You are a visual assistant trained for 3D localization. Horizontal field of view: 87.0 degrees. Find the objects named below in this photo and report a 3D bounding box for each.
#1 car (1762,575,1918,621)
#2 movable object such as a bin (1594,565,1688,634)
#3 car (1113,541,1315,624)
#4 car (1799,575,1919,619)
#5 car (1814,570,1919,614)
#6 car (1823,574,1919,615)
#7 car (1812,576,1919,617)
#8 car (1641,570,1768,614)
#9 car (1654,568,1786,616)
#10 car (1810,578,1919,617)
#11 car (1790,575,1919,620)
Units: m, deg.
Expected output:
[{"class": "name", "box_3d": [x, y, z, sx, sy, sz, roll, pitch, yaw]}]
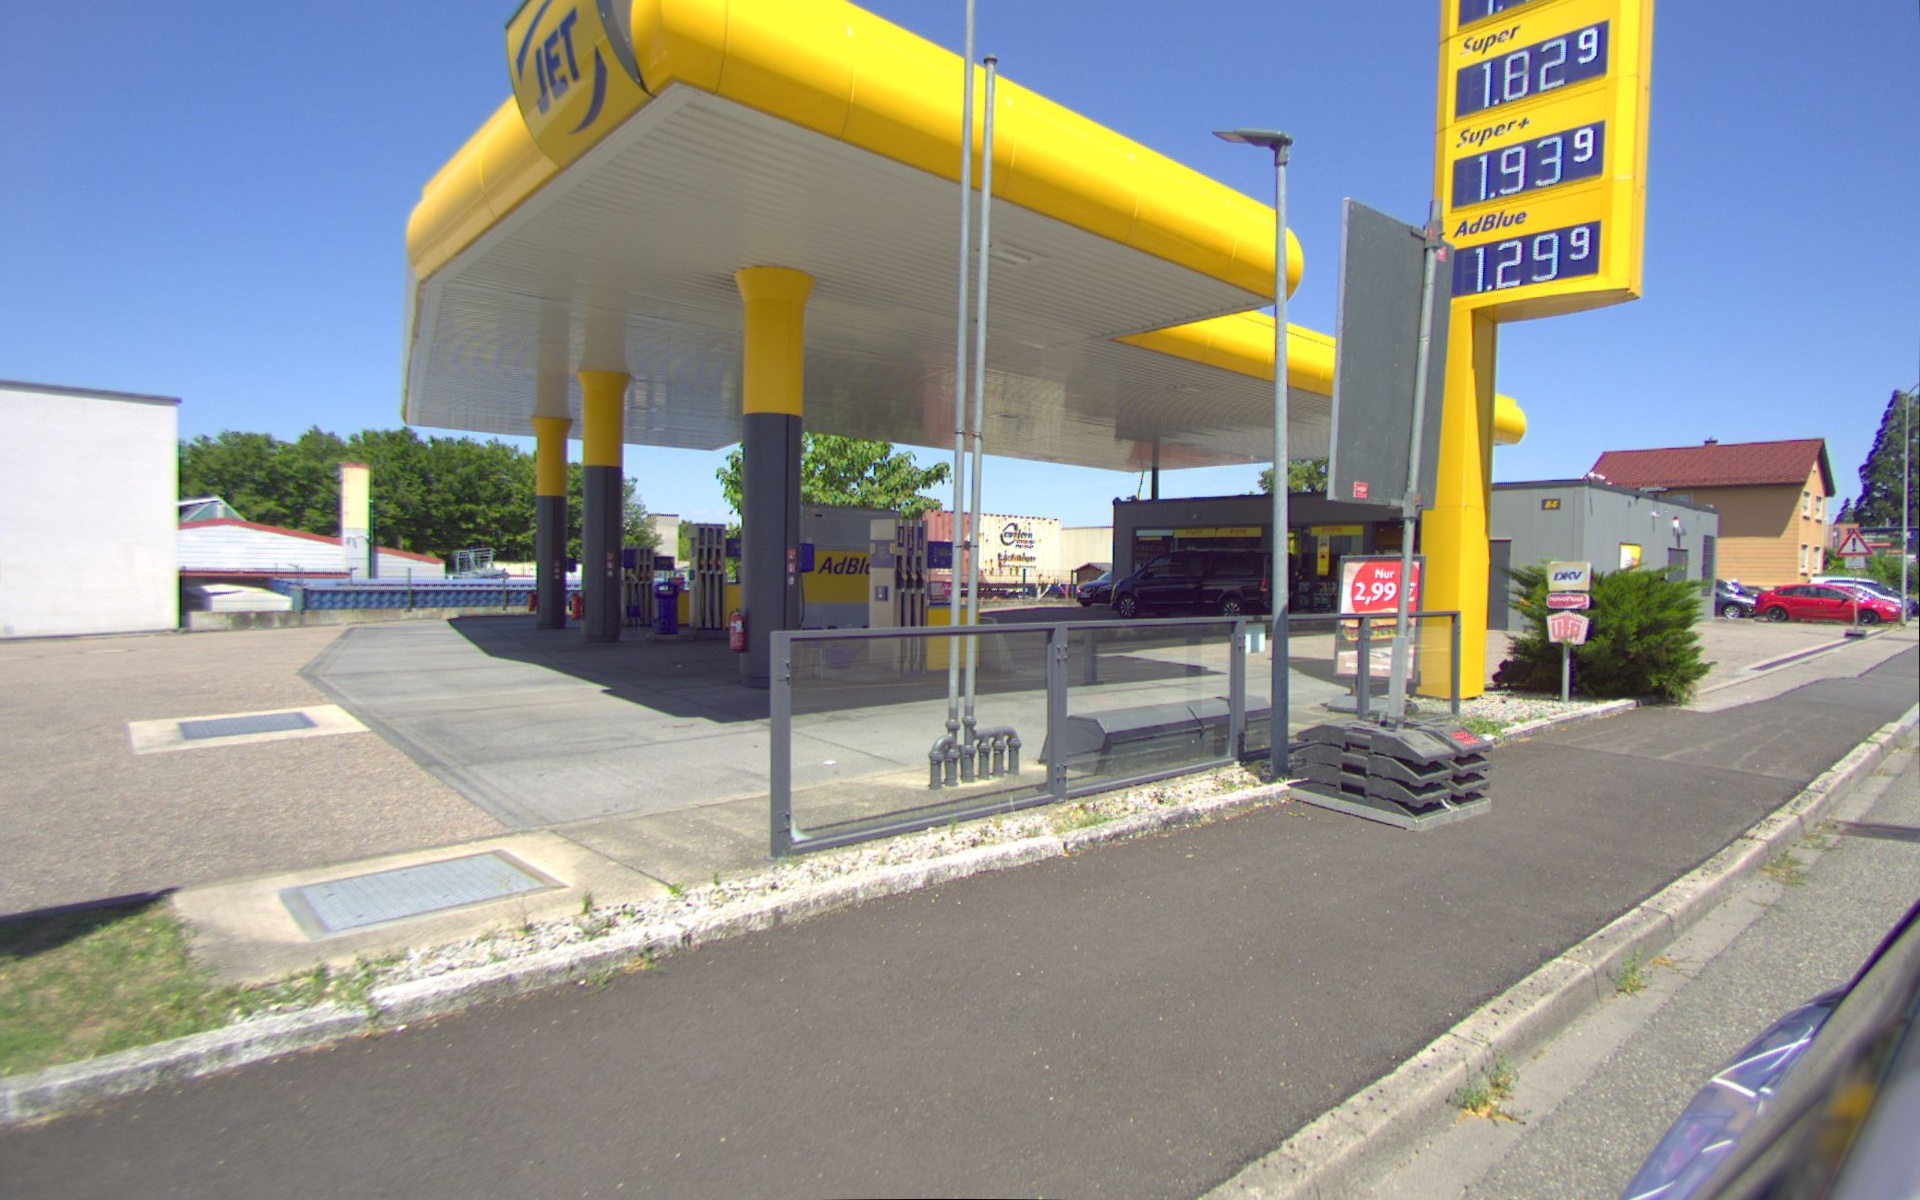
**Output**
[{"class": "car", "box_3d": [32.942, -0.110, 37.958, 1.926, 1.553, 4.229, 0, 2, -43]}, {"class": "movable object such as a bin", "box_3d": [15.514, -0.031, 23.054, 1.443, 1.455, 1.437, 0, 3, -42]}, {"class": "car", "box_3d": [6.684, -0.487, 27.148, 1.965, 2.000, 5.059, 0, 1, -41]}, {"class": "car", "box_3d": [36.491, -0.150, 41.034, 3.685, 1.586, 1.722, 3, 2, 44]}, {"class": "car", "box_3d": [42.504, -0.381, 47.146, 4.132, 1.962, 1.781, 2, 1, 42]}, {"class": "car", "box_3d": [41.340, -0.250, 45.371, 3.877, 1.701, 1.735, 3, 2, 44]}, {"class": "car", "box_3d": [38.237, -0.171, 42.441, 1.615, 1.586, 3.687, 0, 2, -45]}, {"class": "car", "box_3d": [31.288, -0.290, 42.601, 1.753, 1.689, 4.042, 0, -1, -43]}, {"class": "car", "box_3d": [32.992, -0.325, 43.998, 4.340, 1.921, 1.940, -2, -1, 45]}, {"class": "car", "box_3d": [39.590, -0.127, 43.986, 1.802, 1.528, 3.798, 0, 2, -42]}, {"class": "car", "box_3d": [34.856, -0.145, 39.462, 3.685, 1.586, 1.681, 3, 2, 44]}]
